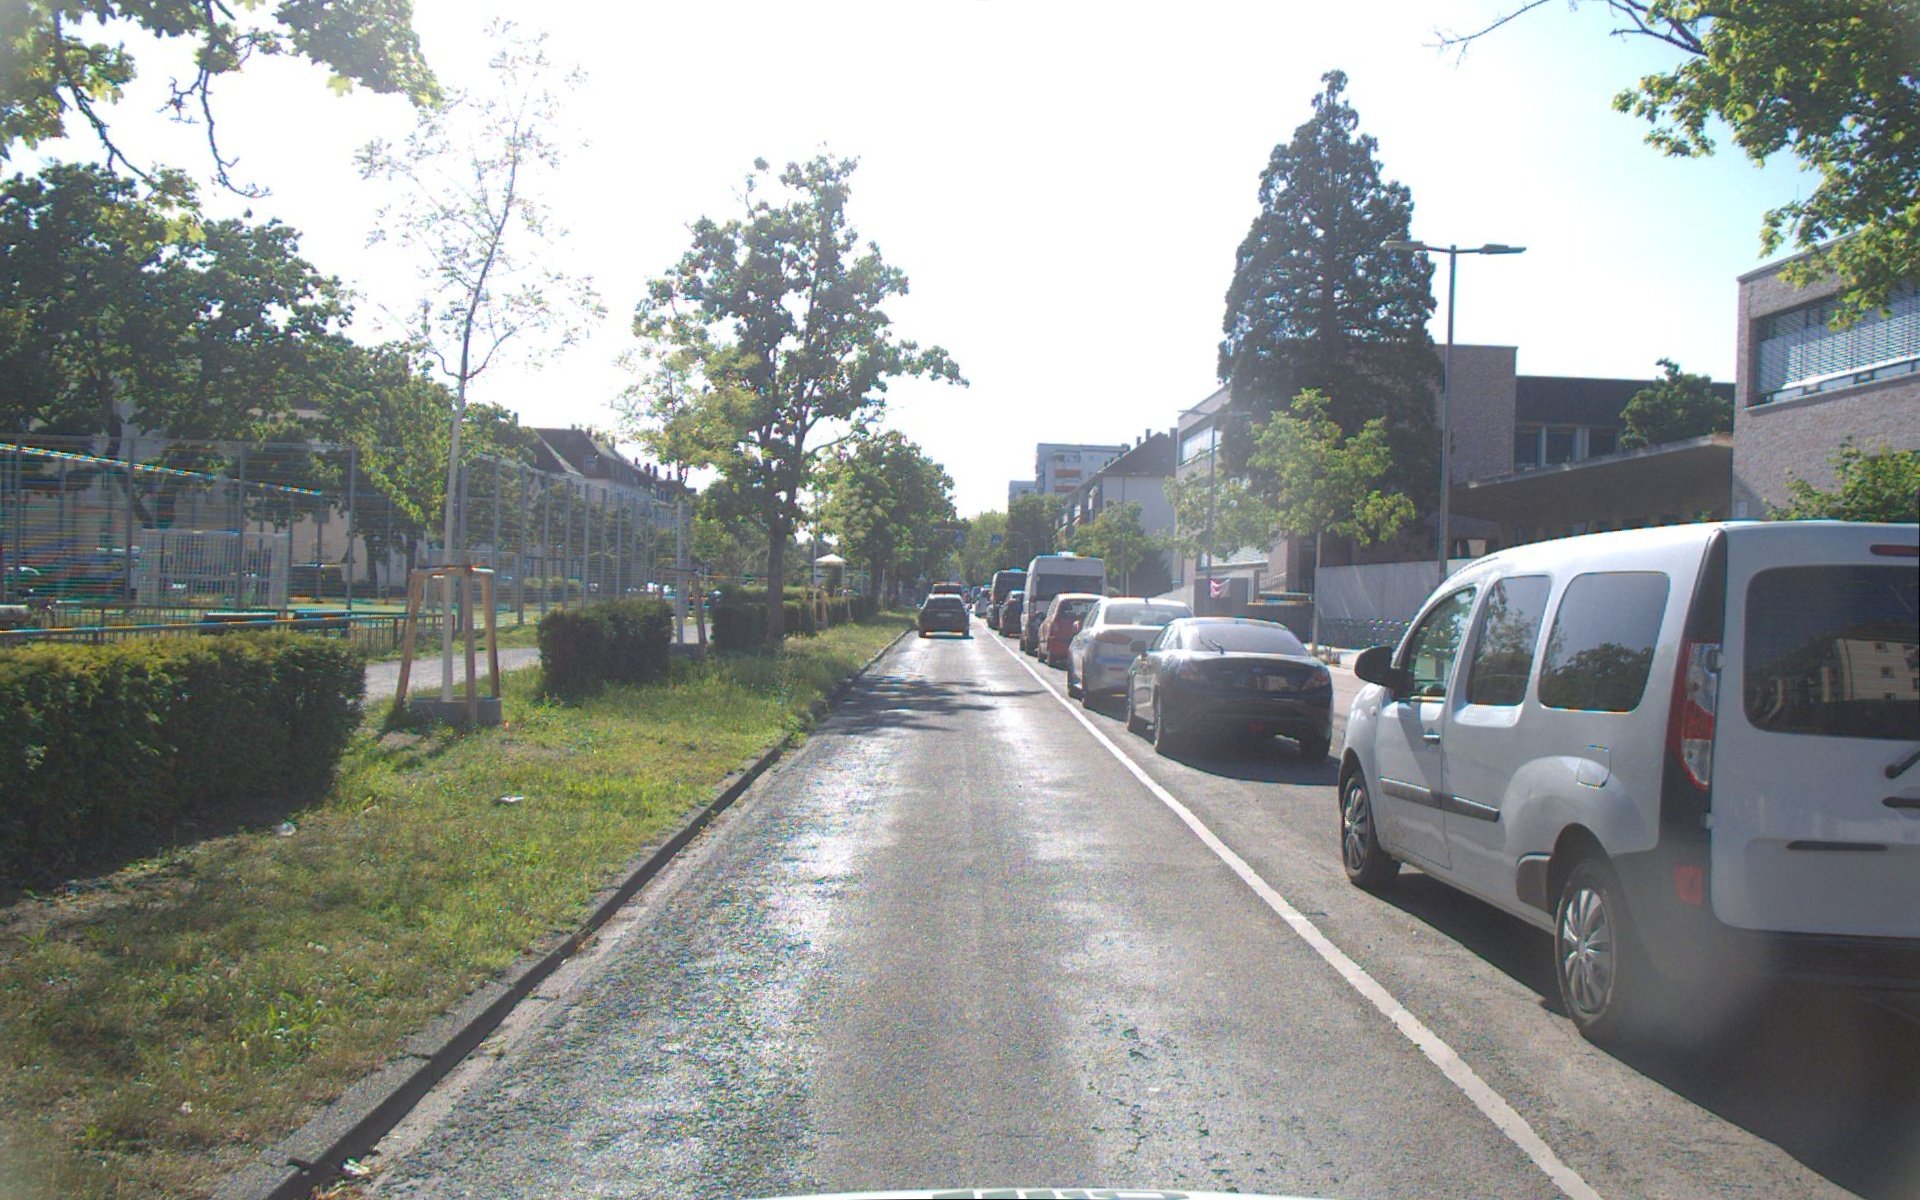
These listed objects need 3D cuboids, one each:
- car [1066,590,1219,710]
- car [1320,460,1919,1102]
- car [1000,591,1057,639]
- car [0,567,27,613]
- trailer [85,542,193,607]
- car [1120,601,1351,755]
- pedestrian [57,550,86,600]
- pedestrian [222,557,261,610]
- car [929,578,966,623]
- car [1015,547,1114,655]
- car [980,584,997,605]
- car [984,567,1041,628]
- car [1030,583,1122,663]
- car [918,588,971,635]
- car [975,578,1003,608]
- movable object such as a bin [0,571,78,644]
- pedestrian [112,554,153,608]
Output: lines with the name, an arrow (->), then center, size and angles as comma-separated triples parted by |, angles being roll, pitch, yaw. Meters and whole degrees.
car -> 2.513, 0.646, 23.674 | 1.667, 1.504, 4.173 | 2, 0, 0
car -> 3.062, 0.561, 7.318 | 1.771, 1.941, 4.460 | 2, 0, -2
car -> 2.504, 0.526, 61.635 | 1.808, 1.669, 4.503 | 1, 0, -1
car -> -39.093, -0.429, 65.474 | 1.757, 1.808, 4.488 | 2, 0, 0
trailer -> -39.417, -1.210, 79.595 | 2.296, 2.920, 5.801 | 2, 0, -1
car -> 2.779, 0.732, 17.543 | 1.667, 1.348, 4.129 | 2, 0, -1
pedestrian -> -30.338, -0.860, 56.483 | 0.635, 1.690, 0.650 | 1, 0, 0
pedestrian -> -18.616, -0.422, 42.853 | 0.636, 1.341, 0.649 | 2, 0, 29
car -> -0.632, 0.000, 83.576 | 1.757, 2.159, 4.000 | 2, 0, 0
car -> 2.705, 0.013, 43.995 | 2.195, 2.619, 5.432 | 2, 0, 0
car -> 3.502, -0.720, 205.824 | 1.953, 2.472, 4.500 | 3, 0, 0
car -> 2.290, -0.132, 73.758 | 2.072, 2.559, 6.530 | 1, 0, -2
car -> 2.497, 0.460, 36.262 | 1.587, 1.616, 3.590 | 2, 0, -3
car -> -0.539, 0.391, 58.134 | 1.757, 1.536, 4.000 | 2, 0, 0
car -> 1.901, -0.459, 107.308 | 1.757, 1.887, 4.414 | 2, 0, 2
movable object such as a bin -> -17.081, 0.110, 29.326 | 2.285, 1.263, 1.055 | 1, 0, -5
pedestrian -> -20.952, -0.489, 41.889 | 0.636, 1.341, 0.649 | 2, 0, 29
